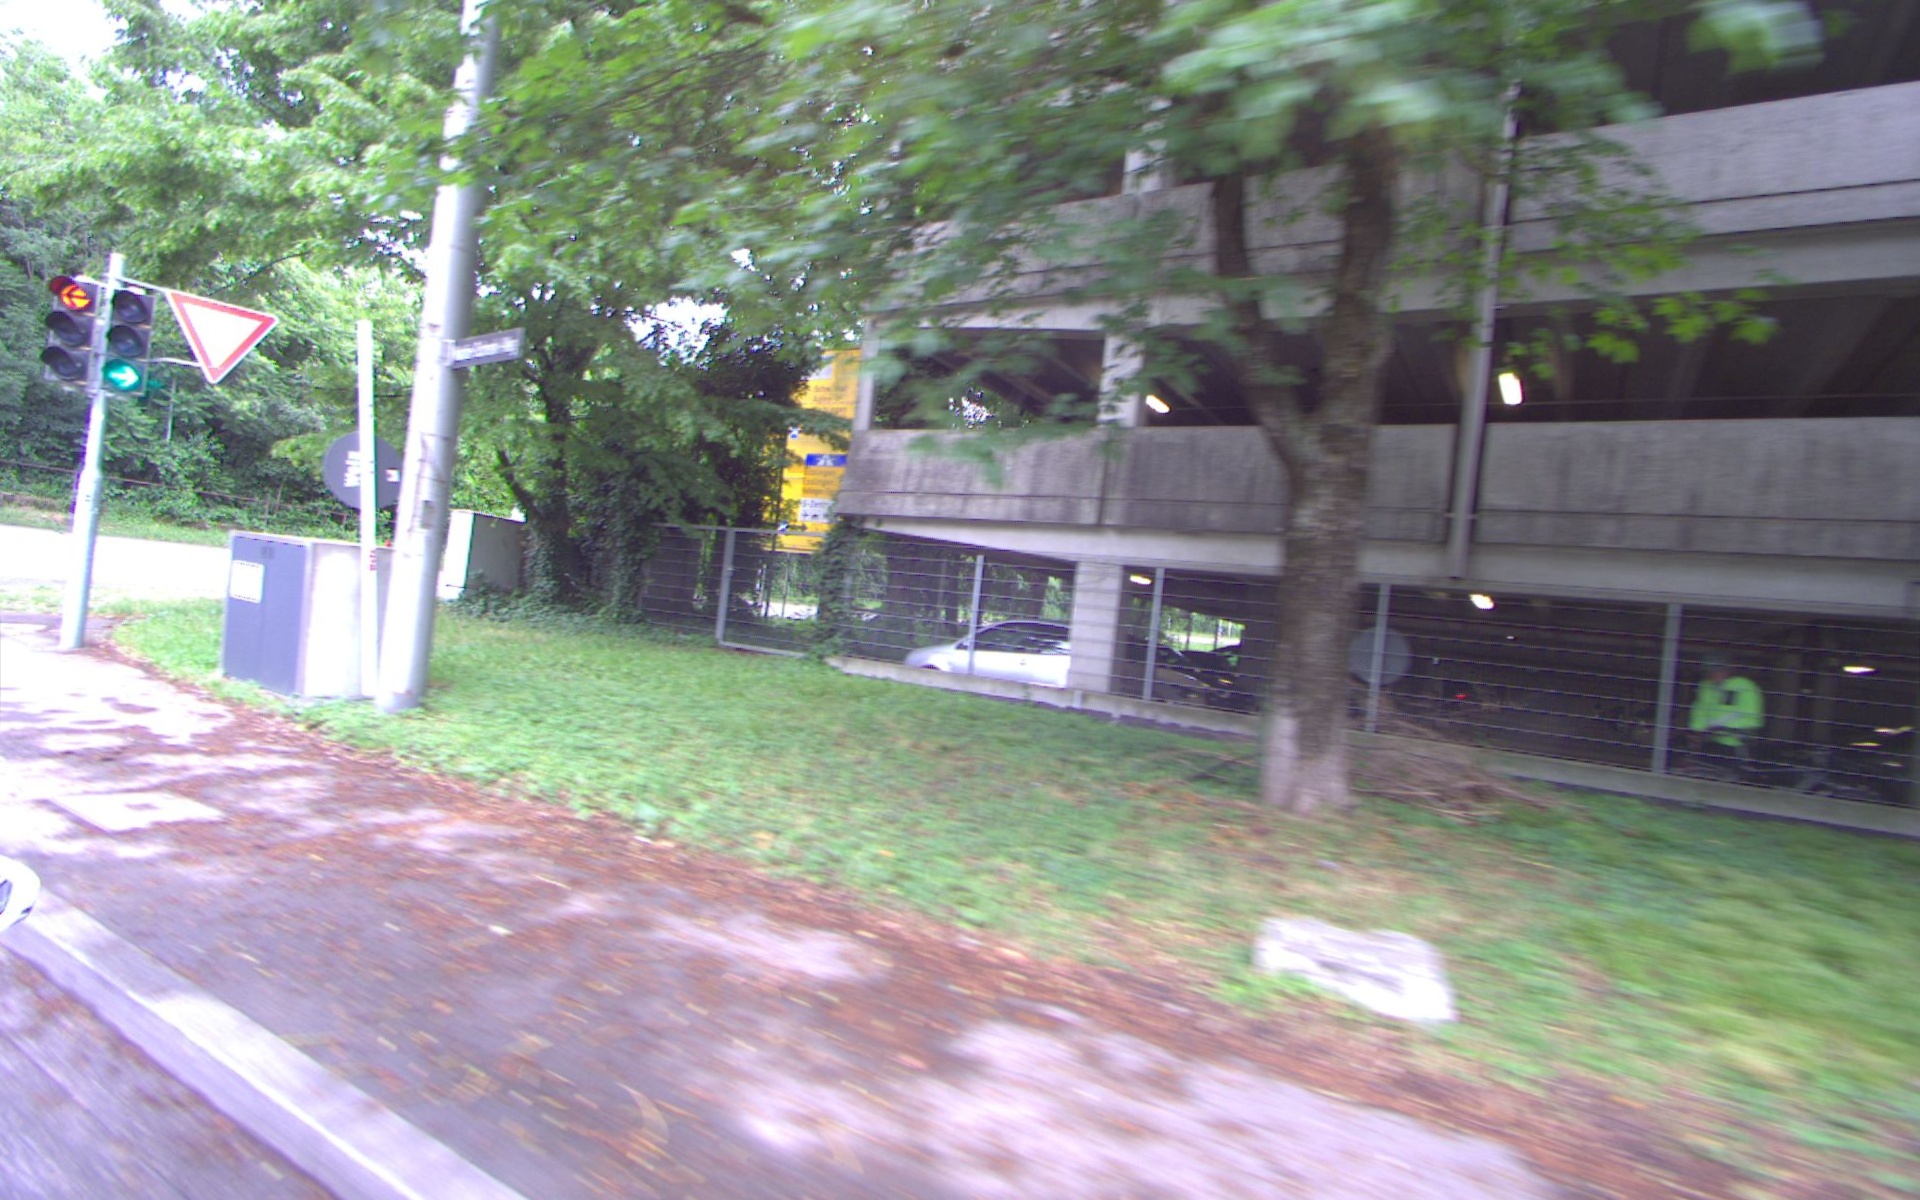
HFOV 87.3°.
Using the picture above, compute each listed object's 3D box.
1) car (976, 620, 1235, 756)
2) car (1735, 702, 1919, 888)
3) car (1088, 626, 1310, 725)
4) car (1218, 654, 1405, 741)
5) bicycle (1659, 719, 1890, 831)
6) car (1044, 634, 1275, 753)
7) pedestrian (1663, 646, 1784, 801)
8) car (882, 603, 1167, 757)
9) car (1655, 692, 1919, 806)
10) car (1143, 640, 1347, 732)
[{"bbox_3d":[2.326,1.383,16.316,3.708,1.727,1.583,4,-3,32],"label":"car"},{"bbox_3d":[12.644,2.549,12.362,4.597,2.036,1.998,4,-3,31],"label":"car"},{"bbox_3d":[4.904,1.540,20.717,3.934,1.569,1.998,4,-3,31],"label":"car"},{"bbox_3d":[10.110,2.787,29.071,4.658,1.855,1.923,5,-2,33],"label":"car"},{"bbox_3d":[7.138,1.515,8.886,1.469,0.745,0.448,5,-2,24],"label":"bicycle"},{"bbox_3d":[3.617,1.667,18.376,3.658,1.682,1.733,4,-3,32],"label":"car"},{"bbox_3d":[7.091,1.137,9.347,0.636,1.332,0.632,7,-2,-31],"label":"pedestrian"},{"bbox_3d":[0.882,1.093,14.385,3.658,1.727,1.484,4,-3,32],"label":"car"},{"bbox_3d":[15.848,2.800,19.267,3.935,1.585,1.721,4,-3,30],"label":"car"},{"bbox_3d":[6.413,1.919,22.658,3.934,1.569,1.998,4,-3,31],"label":"car"}]
